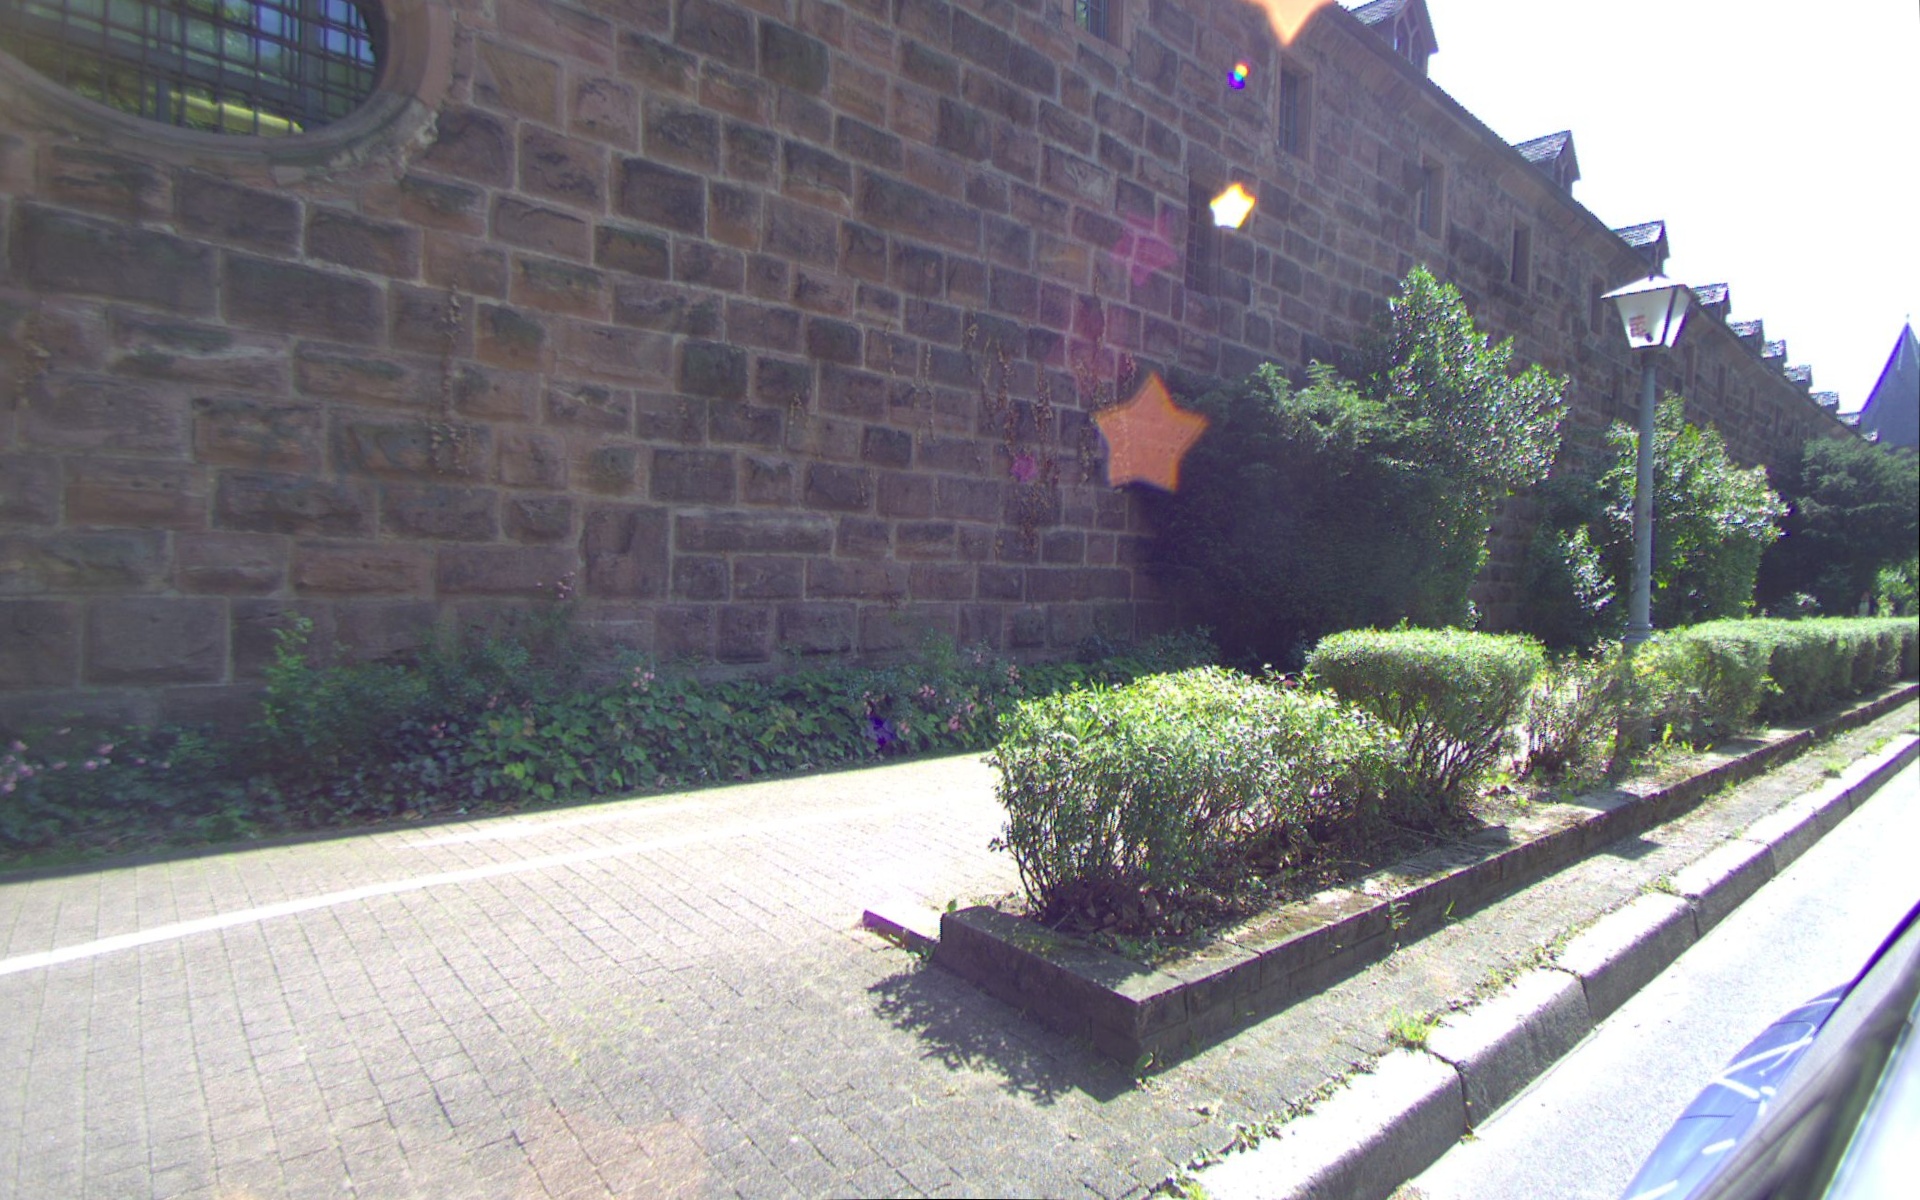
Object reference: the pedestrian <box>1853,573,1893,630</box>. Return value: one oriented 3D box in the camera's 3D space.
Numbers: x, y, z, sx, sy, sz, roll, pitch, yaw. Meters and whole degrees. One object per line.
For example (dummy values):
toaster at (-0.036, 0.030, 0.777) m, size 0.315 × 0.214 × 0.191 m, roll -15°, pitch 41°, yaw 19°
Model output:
pedestrian at (27.499, 0.031, 30.486) m, size 0.692 × 1.672 × 0.700 m, roll 1°, pitch 2°, yaw -38°
